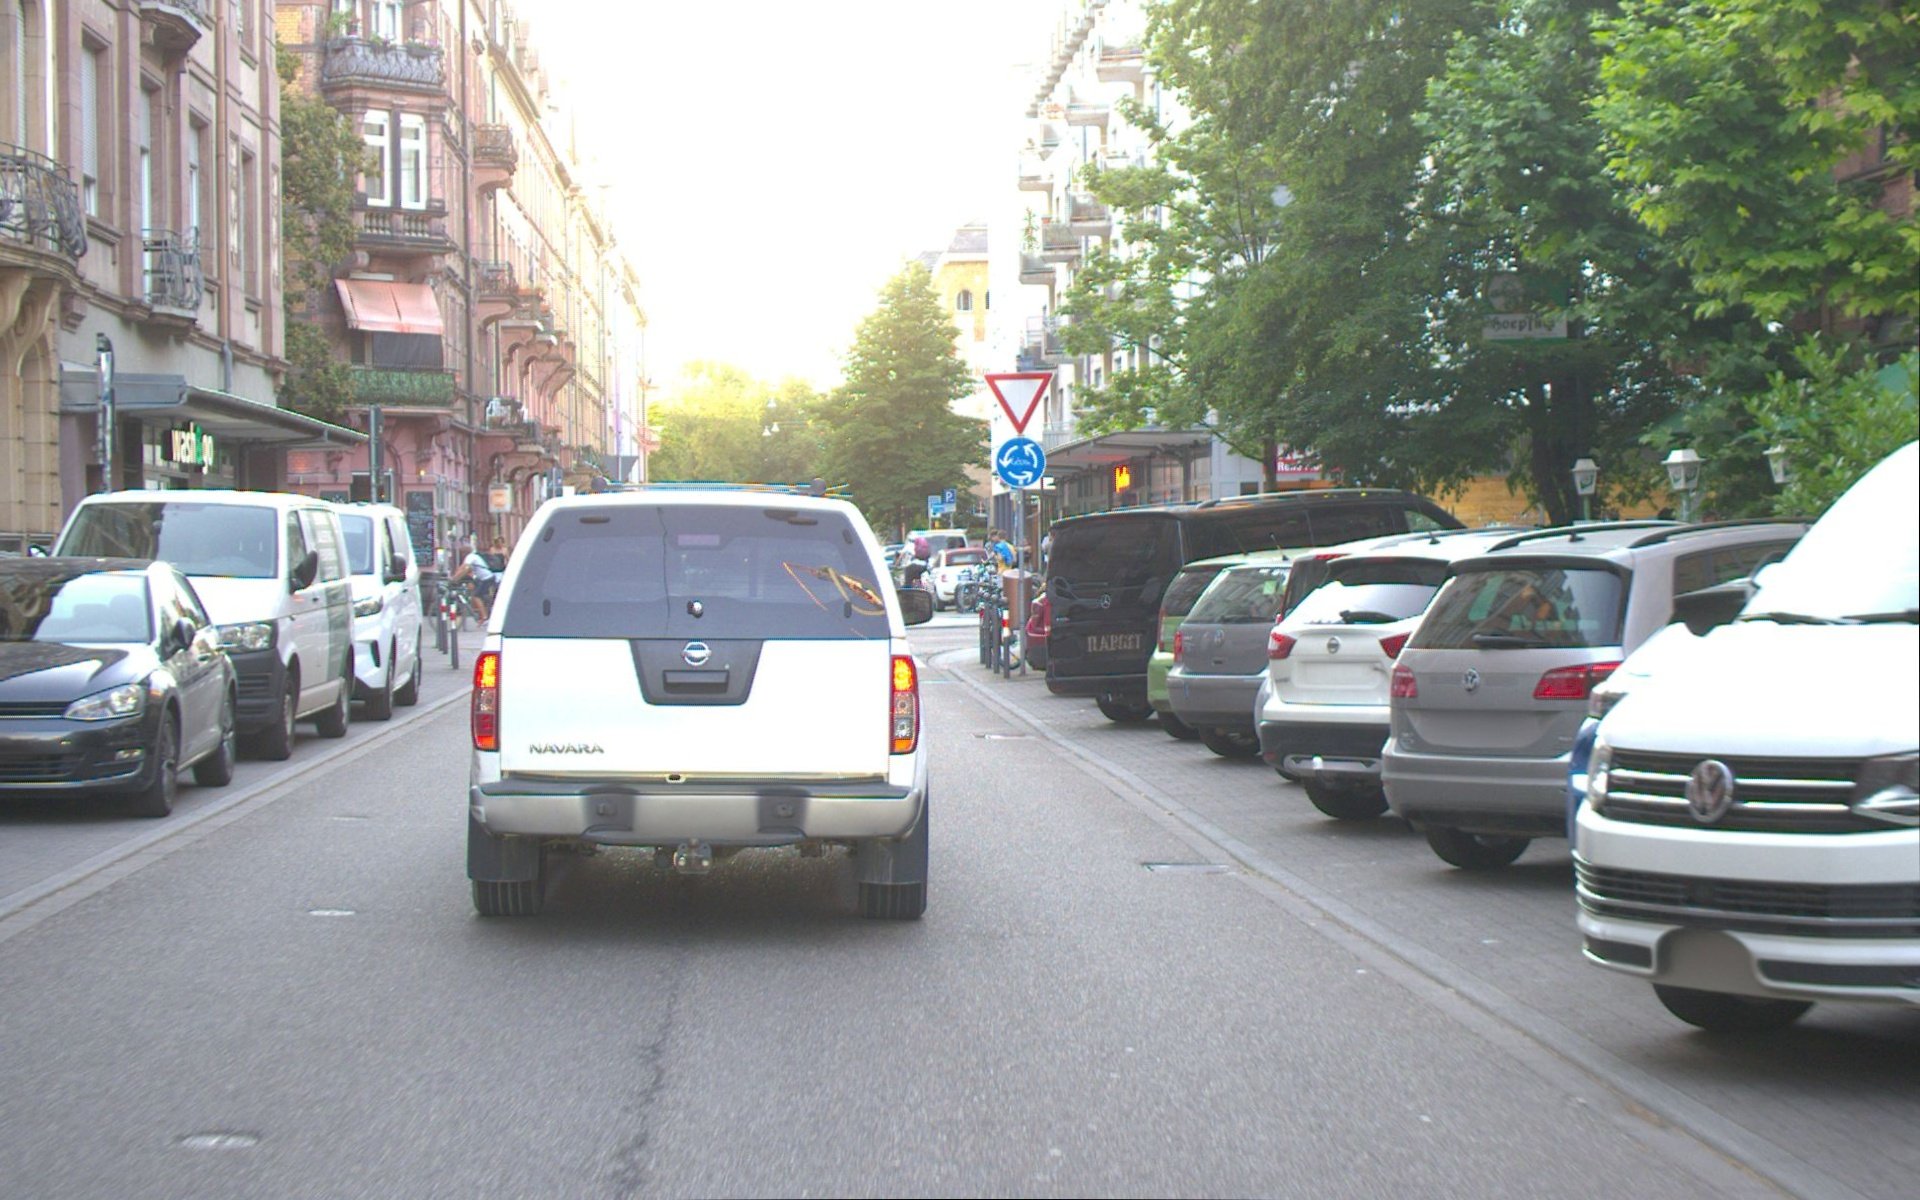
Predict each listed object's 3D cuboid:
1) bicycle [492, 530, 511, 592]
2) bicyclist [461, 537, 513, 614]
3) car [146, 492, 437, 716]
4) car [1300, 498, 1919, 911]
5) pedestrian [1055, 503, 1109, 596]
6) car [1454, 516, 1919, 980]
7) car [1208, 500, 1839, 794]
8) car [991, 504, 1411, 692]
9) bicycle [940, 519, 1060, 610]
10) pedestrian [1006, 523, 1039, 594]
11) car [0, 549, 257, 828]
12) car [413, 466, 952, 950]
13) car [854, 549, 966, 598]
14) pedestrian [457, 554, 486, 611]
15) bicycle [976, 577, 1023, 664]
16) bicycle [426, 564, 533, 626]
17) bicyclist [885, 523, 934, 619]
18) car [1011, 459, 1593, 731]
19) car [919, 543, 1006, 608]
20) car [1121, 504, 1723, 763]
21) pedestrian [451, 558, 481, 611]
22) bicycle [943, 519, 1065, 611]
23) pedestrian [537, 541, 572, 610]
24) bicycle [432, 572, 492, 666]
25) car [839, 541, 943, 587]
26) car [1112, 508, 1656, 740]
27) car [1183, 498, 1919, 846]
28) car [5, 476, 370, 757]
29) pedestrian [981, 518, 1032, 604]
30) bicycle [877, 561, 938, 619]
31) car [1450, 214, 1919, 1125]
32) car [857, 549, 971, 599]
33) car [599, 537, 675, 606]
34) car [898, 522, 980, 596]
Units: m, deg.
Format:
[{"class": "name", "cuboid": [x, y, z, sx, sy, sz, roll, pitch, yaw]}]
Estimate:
[{"class": "bicycle", "cuboid": [-10.840, -0.917, 81.251, 0.424, 1.437, 1.905, 1, 0, -8]}, {"class": "bicyclist", "cuboid": [-9.051, -0.470, 65.791, 0.871, 1.461, 0.576, 1, 0, 5]}, {"class": "car", "cuboid": [-6.133, -0.002, 32.121, 2.109, 1.915, 5.027, 0, 1, -5]}, {"class": "car", "cuboid": [3.869, 0.385, 16.437, 4.154, 1.585, 1.886, -4, 3, -34]}, {"class": "pedestrian", "cuboid": [2.492, -1.027, 70.176, 0.903, 1.878, 0.616, 1, 0, -34]}, {"class": "car", "cuboid": [4.218, 0.454, 13.787, 4.153, 1.585, 1.886, -2, 1, -31]}, {"class": "car", "cuboid": [3.762, 0.252, 22.569, 4.098, 1.585, 1.818, -5, 2, -41]}, {"class": "car", "cuboid": [2.578, -0.047, 36.198, 4.213, 1.682, 1.932, -5, 2, -41]}, {"class": "bicycle", "cuboid": [0.891, -0.788, 77.202, 2.647, 2.007, 0.638, 1, 0, -2]}, {"class": "pedestrian", "cuboid": [1.473, -0.976, 81.048, 0.720, 1.657, 0.702, 1, 0, -3]}, {"class": "car", "cuboid": [-5.311, 0.441, 20.206, 1.836, 1.466, 4.173, 0, 1, -5]}, {"class": "car", "cuboid": [-1.053, 0.394, 15.465, 1.938, 1.804, 5.001, 1, 0, 1]}, {"class": "car", "cuboid": [-1.861, -0.964, 126.150, 3.986, 1.744, 1.841, 1, 0, -4]}, {"class": "pedestrian", "cuboid": [-11.174, -0.405, 78.636, 0.648, 1.281, 0.540, 1, 0, -7]}, {"class": "bicycle", "cuboid": [0.488, 0.244, 42.838, 0.364, 1.060, 1.552, 1, 0, -7]}, {"class": "bicycle", "cuboid": [-9.188, -0.094, 65.803, 1.930, 1.167, 0.596, 1, 0, 6]}, {"class": "bicyclist", "cuboid": [-1.039, -0.591, 70.453, 0.838, 1.937, 0.785, 1, 0, -14]}, {"class": "car", "cuboid": [3.170, -0.102, 30.950, 5.422, 2.065, 1.932, -5, 2, -41]}, {"class": "car", "cuboid": [0.026, -0.594, 83.833, 1.834, 1.536, 4.001, 1, 0, -4]}, {"class": "car", "cuboid": [3.388, 0.197, 24.938, 4.096, 1.546, 1.818, -4, 2, -34]}, {"class": "pedestrian", "cuboid": [-11.137, -0.351, 77.451, 0.648, 1.187, 0.540, 1, 0, -7]}, {"class": "bicycle", "cuboid": [0.977, -0.783, 76.390, 2.647, 2.007, 0.638, 1, 0, -2]}, {"class": "pedestrian", "cuboid": [-9.660, -0.590, 81.934, 0.797, 1.615, 0.945, 1, 0, -5]}, {"class": "bicycle", "cuboid": [-6.152, 0.230, 42.532, 0.471, 1.138, 1.785, 1, 0, 0]}, {"class": "car", "cuboid": [-2.740, -1.419, 135.718, 3.986, 1.744, 1.841, 1, 0, -4]}, {"class": "car", "cuboid": [3.443, 0.150, 27.624, 4.096, 1.546, 1.818, -4, 2, -34]}, {"class": "car", "cuboid": [3.471, 0.333, 19.341, 4.096, 1.585, 1.818, -4, 2, -34]}, {"class": "car", "cuboid": [-5.714, 0.079, 26.009, 1.837, 1.915, 4.846, 0, 1, -2]}, {"class": "pedestrian", "cuboid": [0.948, -0.794, 70.220, 0.903, 1.730, 0.616, 1, 0, -15]}, {"class": "bicycle", "cuboid": [-1.086, -0.207, 70.629, 0.838, 1.167, 1.936, 1, 0, -13]}, {"class": "car", "cuboid": [4.165, 0.102, 10.901, 4.922, 2.354, 2.000, -2, 1, -29]}, {"class": "car", "cuboid": [-1.677, -0.951, 123.918, 3.986, 1.744, 1.841, 1, 0, -4]}, {"class": "car", "cuboid": [-8.407, -0.741, 89.713, 1.834, 1.744, 4.001, 1, 0, -4]}, {"class": "car", "cuboid": [-0.596, -1.100, 92.591, 1.942, 1.927, 4.001, 1, 0, -4]}]
